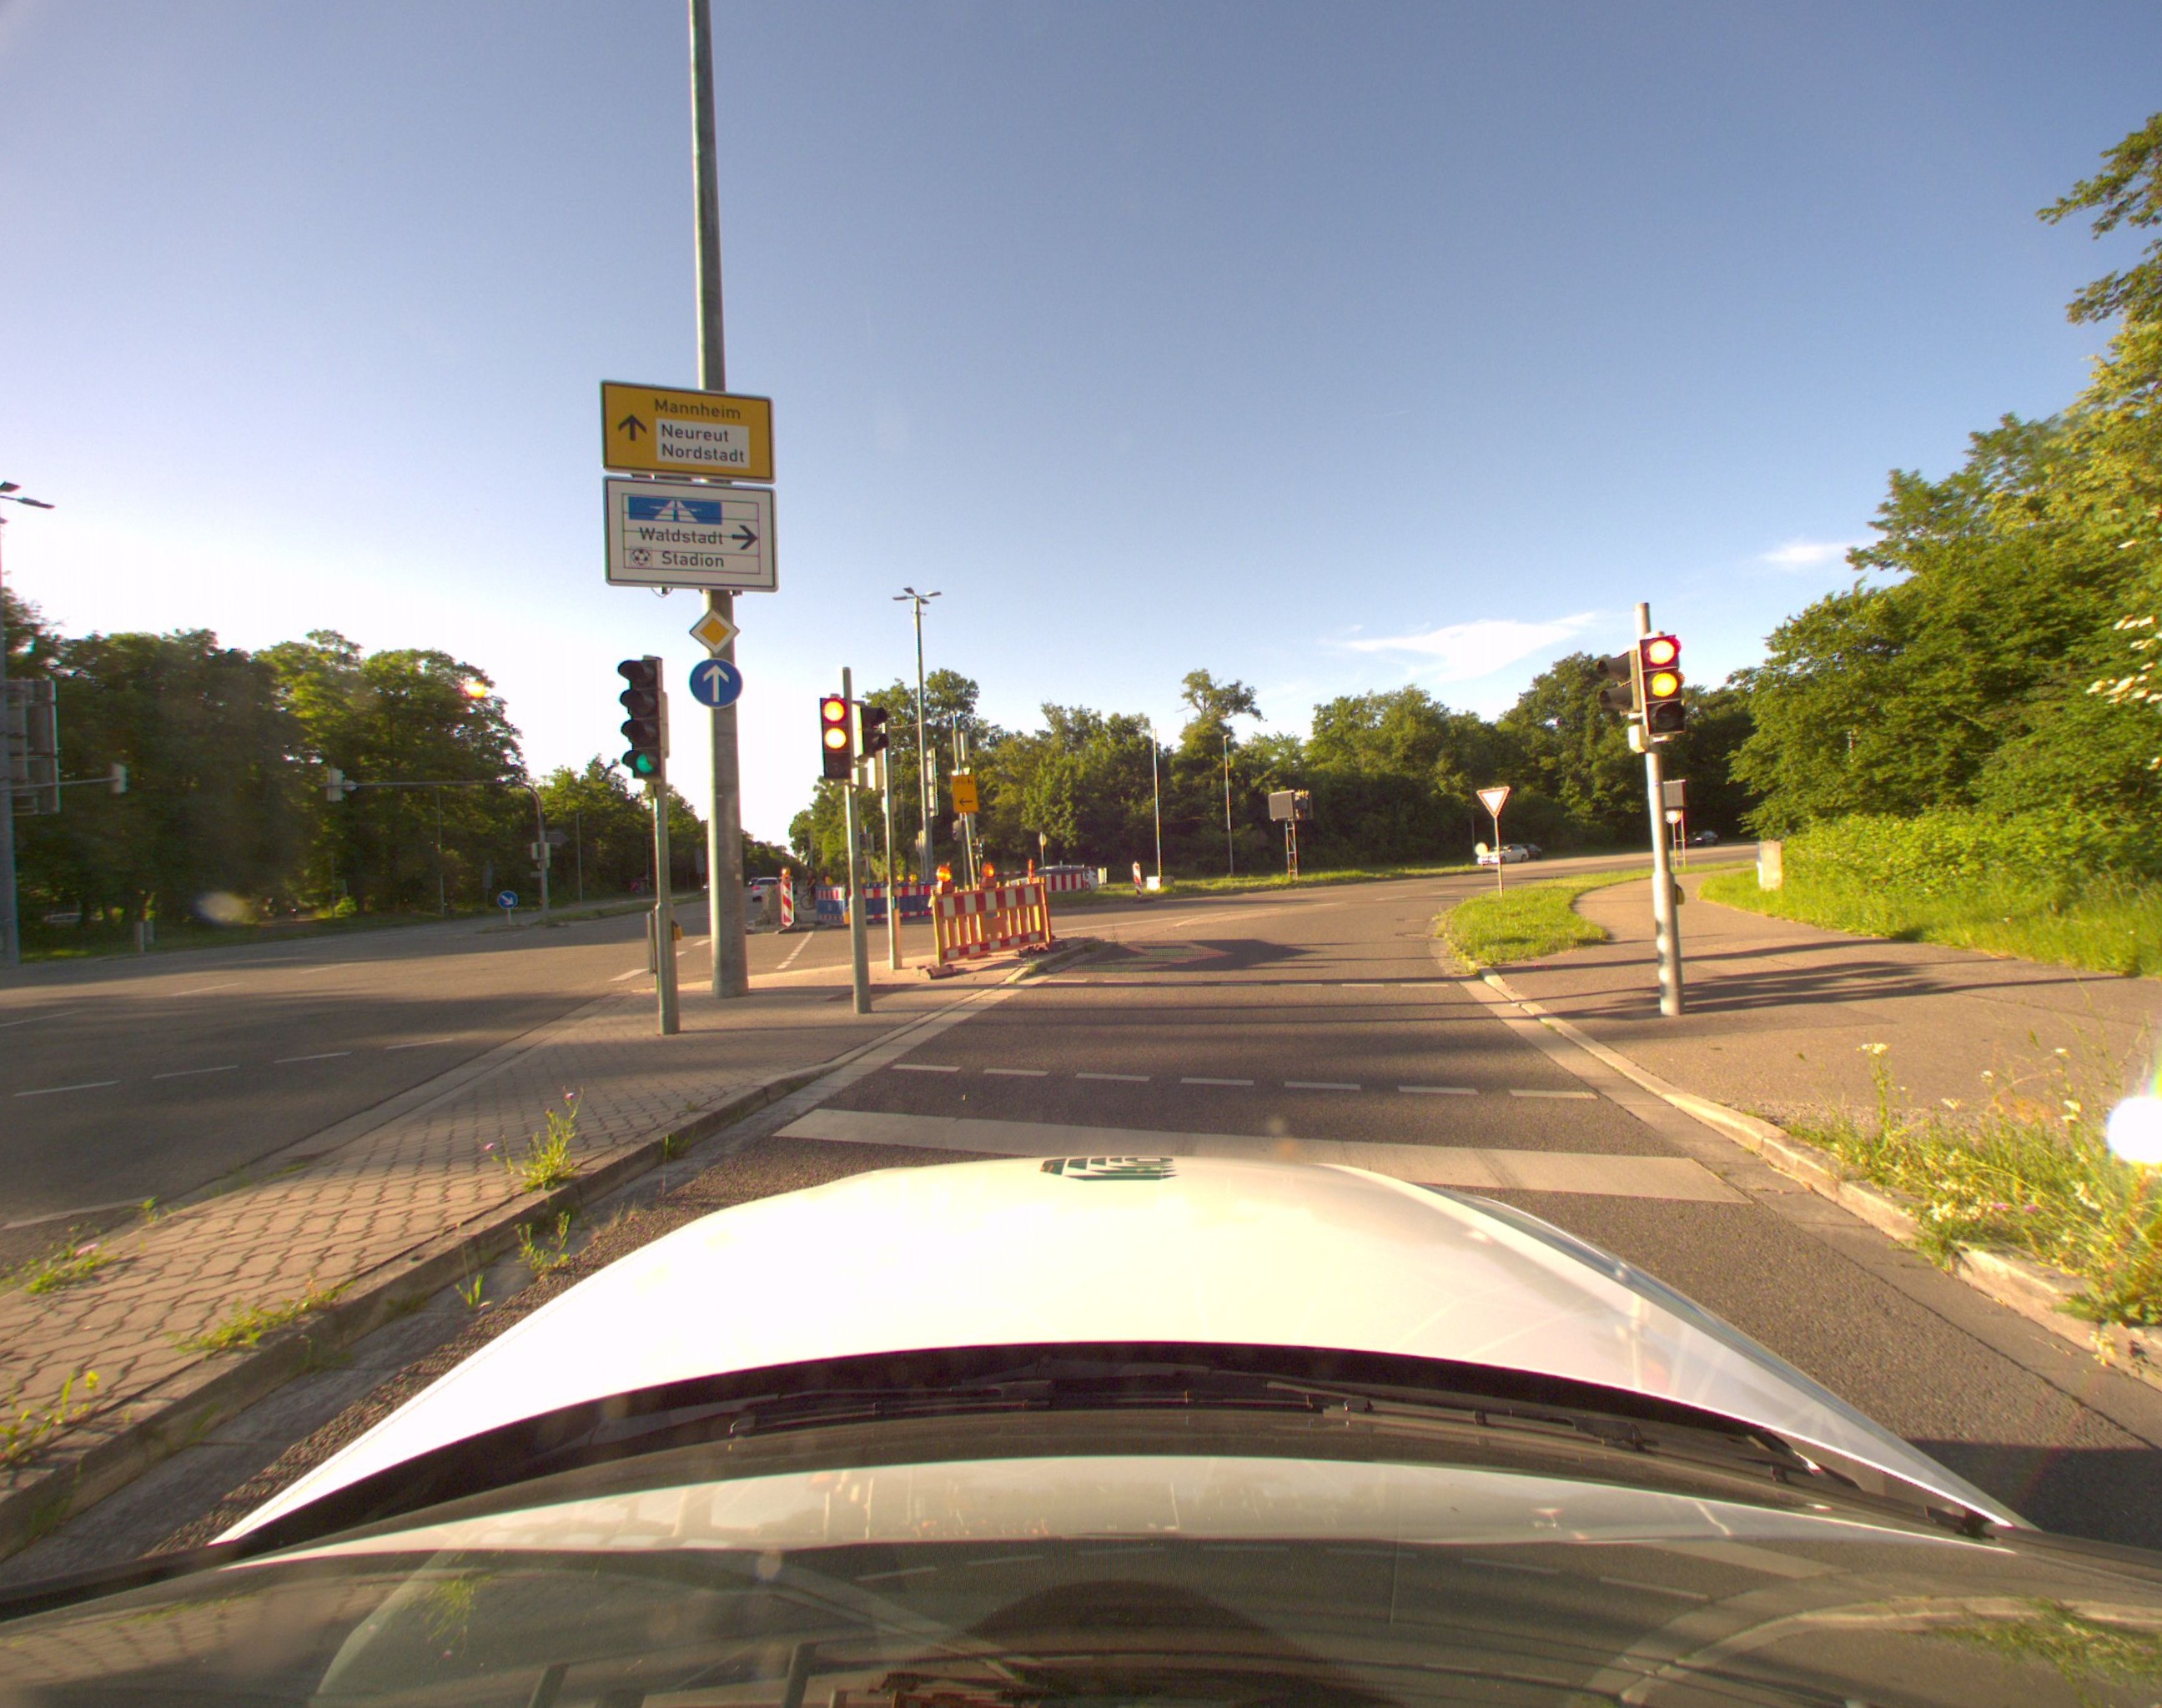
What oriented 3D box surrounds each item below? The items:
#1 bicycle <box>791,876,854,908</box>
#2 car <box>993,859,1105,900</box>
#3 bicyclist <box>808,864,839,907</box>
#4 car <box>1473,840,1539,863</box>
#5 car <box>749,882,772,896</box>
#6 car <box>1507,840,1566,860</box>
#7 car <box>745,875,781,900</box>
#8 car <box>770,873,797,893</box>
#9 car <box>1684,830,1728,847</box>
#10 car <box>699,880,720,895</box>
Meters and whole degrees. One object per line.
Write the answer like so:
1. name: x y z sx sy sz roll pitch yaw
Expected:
1. bicycle: -12.060 1.747 38.007 0.956 1.383 2.656 -3 -1 43
2. car: -1.441 1.155 37.621 4.856 1.580 1.977 -2 -1 -37
3. bicyclist: -12.041 1.456 38.054 0.956 1.930 1.022 -3 -1 43
4. car: 31.170 -0.214 59.641 4.822 1.436 1.980 -3 -1 -30
5. car: -35.738 3.895 90.849 1.867 1.444 3.979 -2 -1 -15
6. car: 37.030 -0.336 66.197 4.822 1.436 1.981 -3 -1 -30
7. car: -20.496 2.133 52.651 1.946 1.414 3.974 -3 -1 -19
8. car: -25.119 2.466 68.890 2.000 1.536 3.974 -3 -1 -19
9. car: 64.094 -1.564 83.496 4.668 1.529 1.980 -3 -1 -32
10. car: -50.732 4.543 111.317 1.998 1.789 4.224 -3 -1 -17
